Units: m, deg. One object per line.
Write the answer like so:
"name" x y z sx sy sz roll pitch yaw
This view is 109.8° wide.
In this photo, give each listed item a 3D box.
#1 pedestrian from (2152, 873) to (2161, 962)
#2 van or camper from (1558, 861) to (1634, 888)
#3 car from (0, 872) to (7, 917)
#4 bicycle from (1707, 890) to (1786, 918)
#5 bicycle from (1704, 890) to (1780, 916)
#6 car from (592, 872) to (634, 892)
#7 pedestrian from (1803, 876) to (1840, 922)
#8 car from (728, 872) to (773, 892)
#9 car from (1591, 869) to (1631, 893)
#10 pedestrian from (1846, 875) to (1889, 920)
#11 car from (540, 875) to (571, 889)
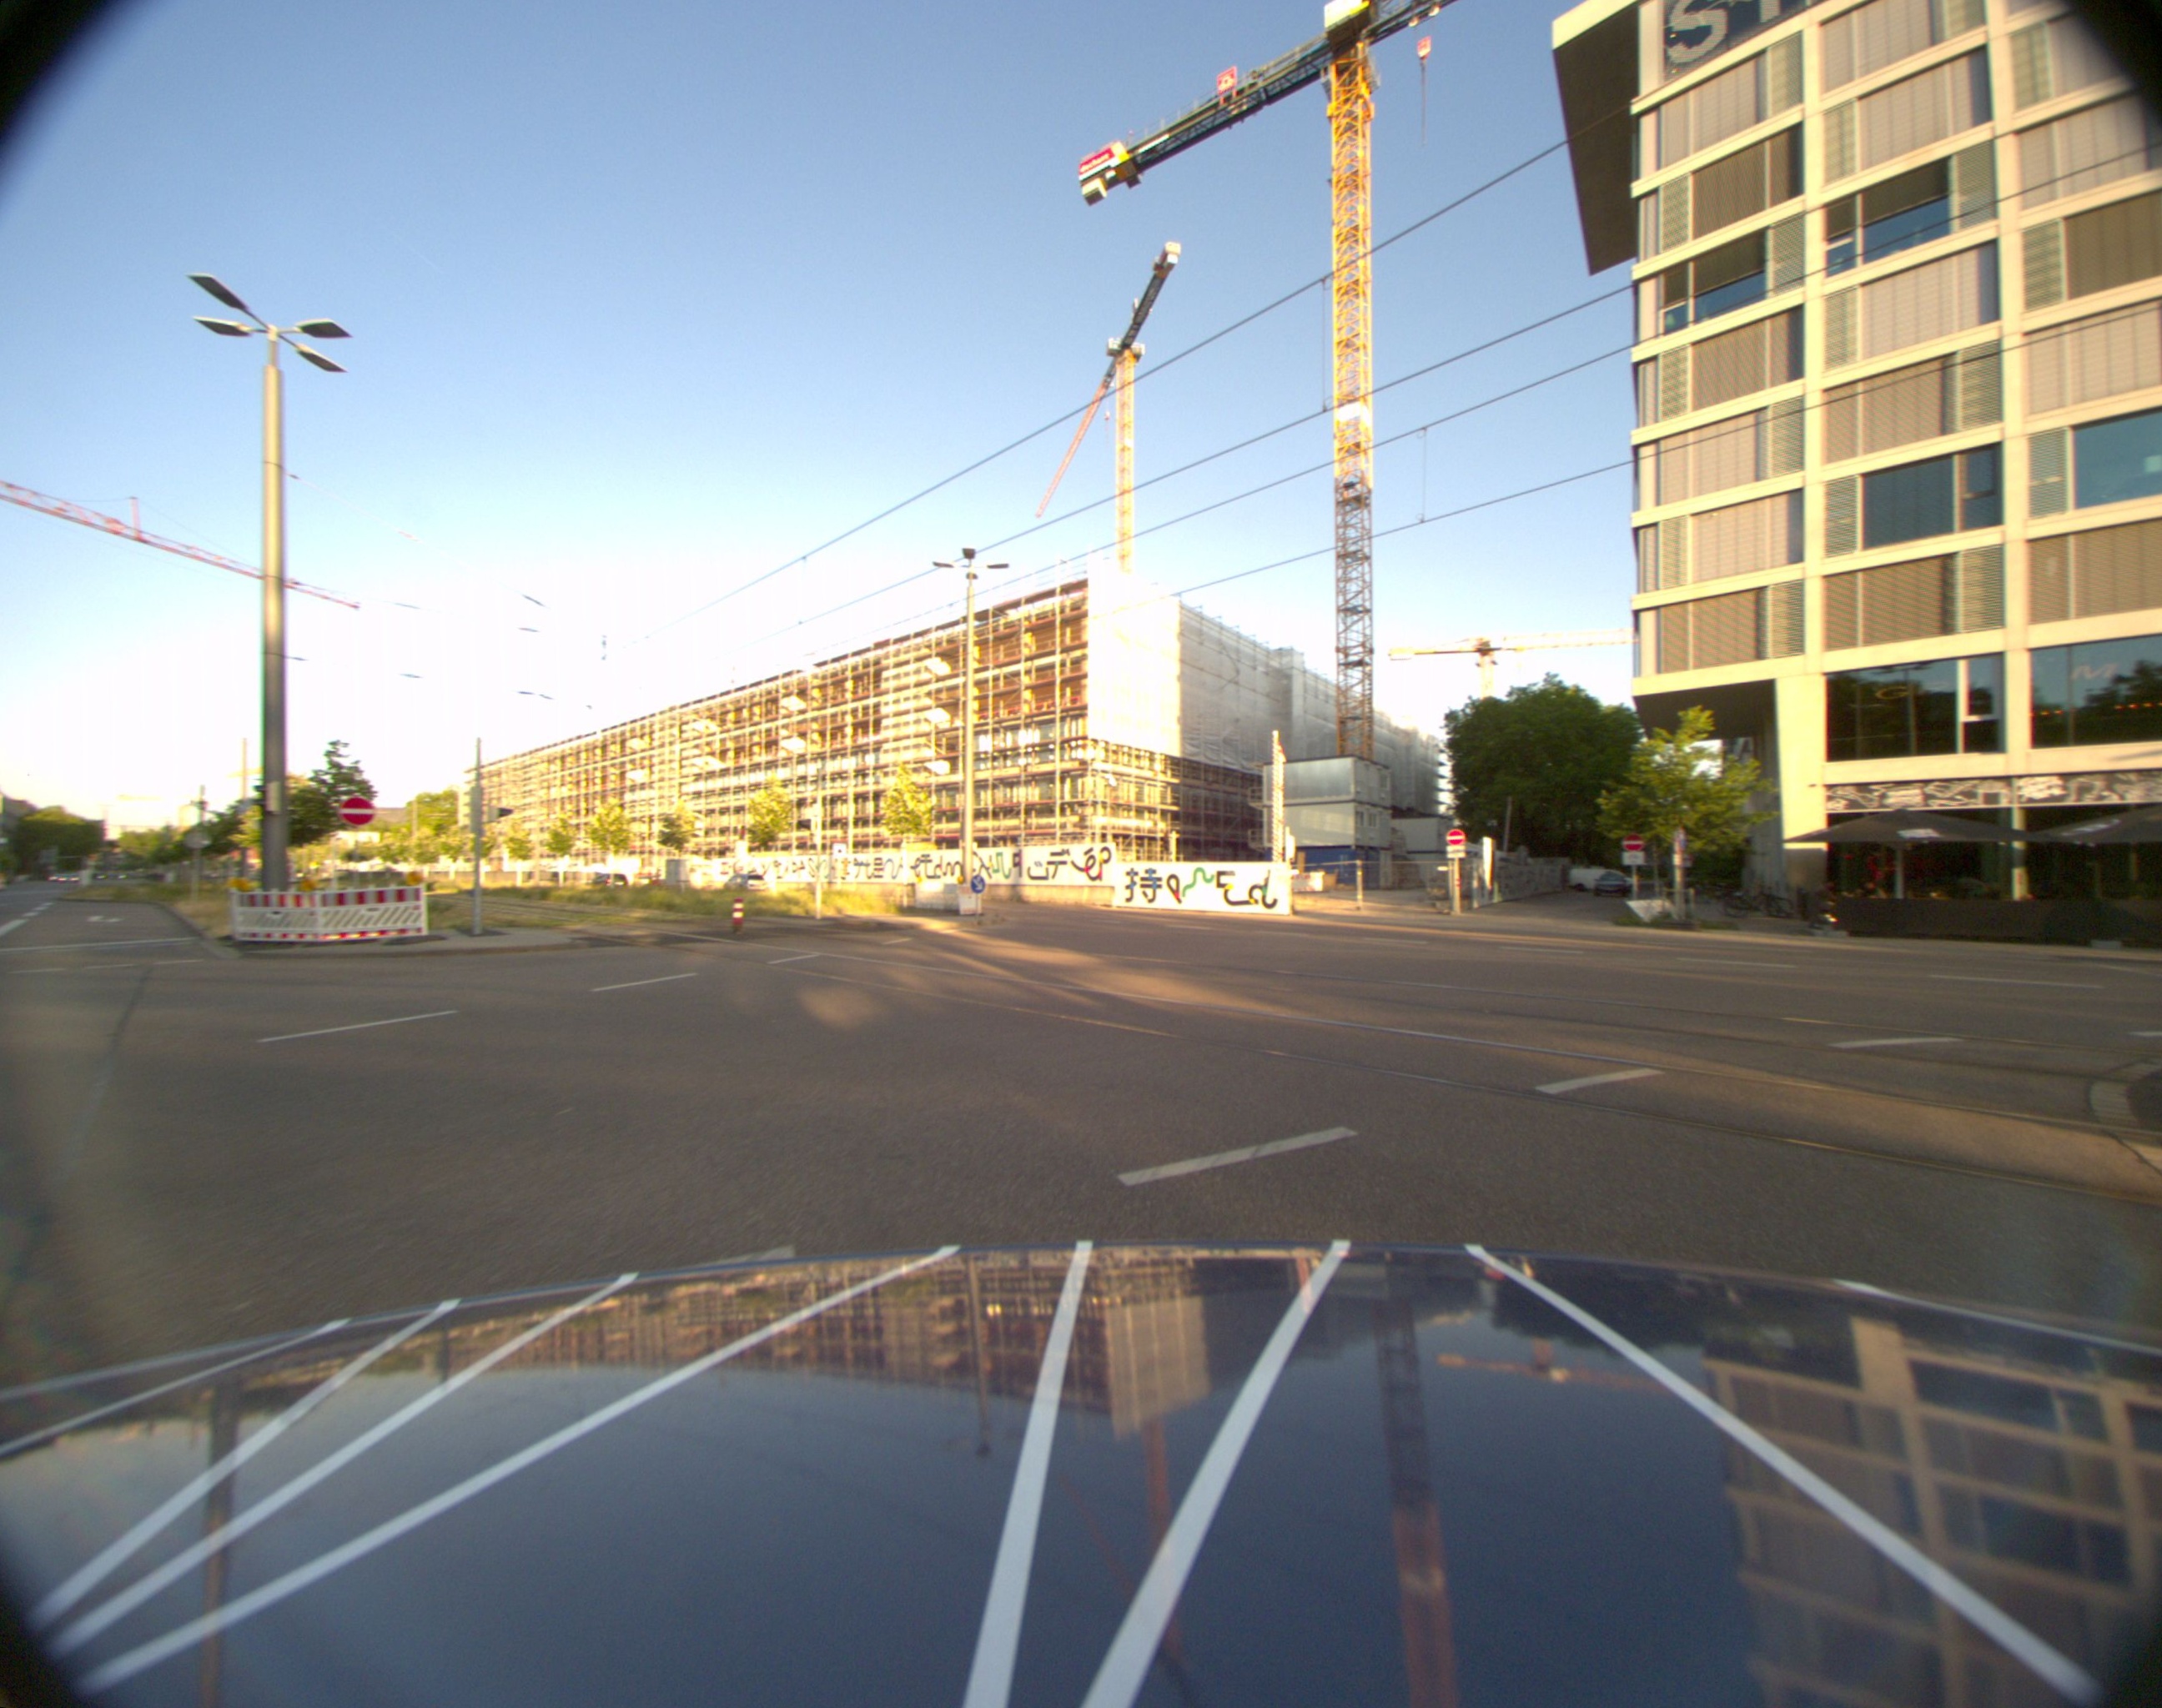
"pedestrian" 22.731 1.328 15.549 0.760 1.825 0.710 0 2 37
"van or camper" 43.399 1.758 64.095 4.941 2.109 2.498 -4 -3 42
"car" -38.586 1.417 26.077 4.248 1.588 1.707 -1 0 39
"bicycle" 22.576 1.692 25.829 1.973 0.869 0.395 -2 0 37
"bicycle" 23.083 1.714 26.578 1.973 0.869 0.395 -3 0 37
"car" -38.110 2.282 61.812 4.057 1.508 1.791 -1 -3 43
"pedestrian" 23.745 1.427 24.372 0.770 1.453 0.607 -1 -1 38
"car" -24.707 2.072 56.767 1.673 1.446 4.057 3 -3 -45
"car" 36.732 1.829 52.669 2.003 1.588 3.714 -1 -1 39
"pedestrian" 24.736 1.360 23.907 0.771 1.406 0.607 0 -1 22
"car" -60.187 3.211 87.001 3.988 1.564 2.005 -1 -1 42
